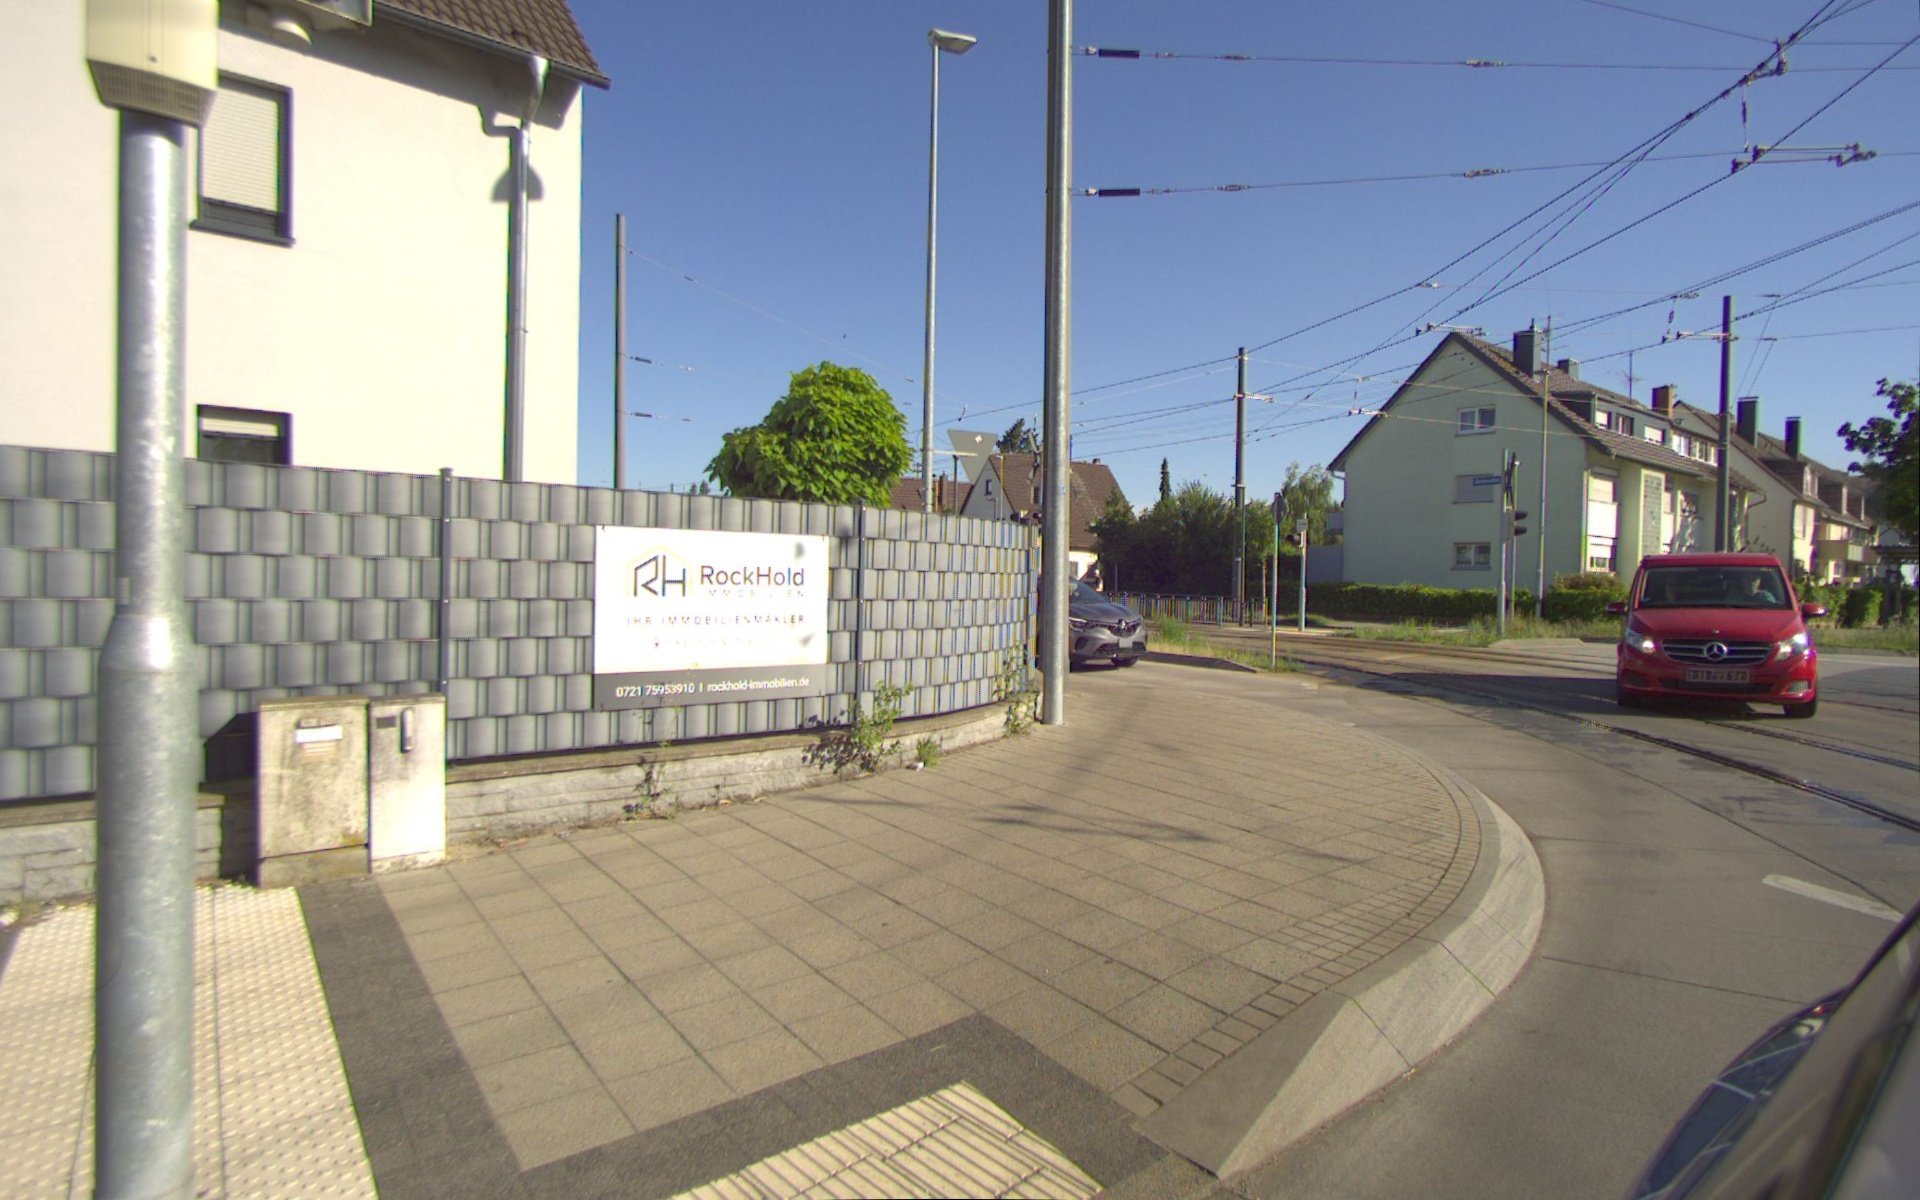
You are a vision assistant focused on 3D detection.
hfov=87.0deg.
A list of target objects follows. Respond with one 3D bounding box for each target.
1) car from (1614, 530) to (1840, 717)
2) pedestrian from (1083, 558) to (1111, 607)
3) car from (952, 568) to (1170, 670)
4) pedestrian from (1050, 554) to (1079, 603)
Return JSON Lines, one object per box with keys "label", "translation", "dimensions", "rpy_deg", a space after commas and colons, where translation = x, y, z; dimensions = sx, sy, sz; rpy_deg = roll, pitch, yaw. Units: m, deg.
{"label": "car", "translation": [9.989, 0.196, 13.586], "dimensions": [1.986, 2.006, 5.176], "rpy_deg": [1, 1, 33]}
{"label": "pedestrian", "translation": [4.911, -0.648, 36.260], "dimensions": [0.722, 1.681, 0.788], "rpy_deg": [3, 4, 32]}
{"label": "car", "translation": [1.669, 0.236, 18.084], "dimensions": [1.795, 1.598, 4.003], "rpy_deg": [-1, 2, -33]}
{"label": "pedestrian", "translation": [3.914, -0.809, 37.907], "dimensions": [0.819, 1.791, 0.682], "rpy_deg": [3, 4, 32]}
